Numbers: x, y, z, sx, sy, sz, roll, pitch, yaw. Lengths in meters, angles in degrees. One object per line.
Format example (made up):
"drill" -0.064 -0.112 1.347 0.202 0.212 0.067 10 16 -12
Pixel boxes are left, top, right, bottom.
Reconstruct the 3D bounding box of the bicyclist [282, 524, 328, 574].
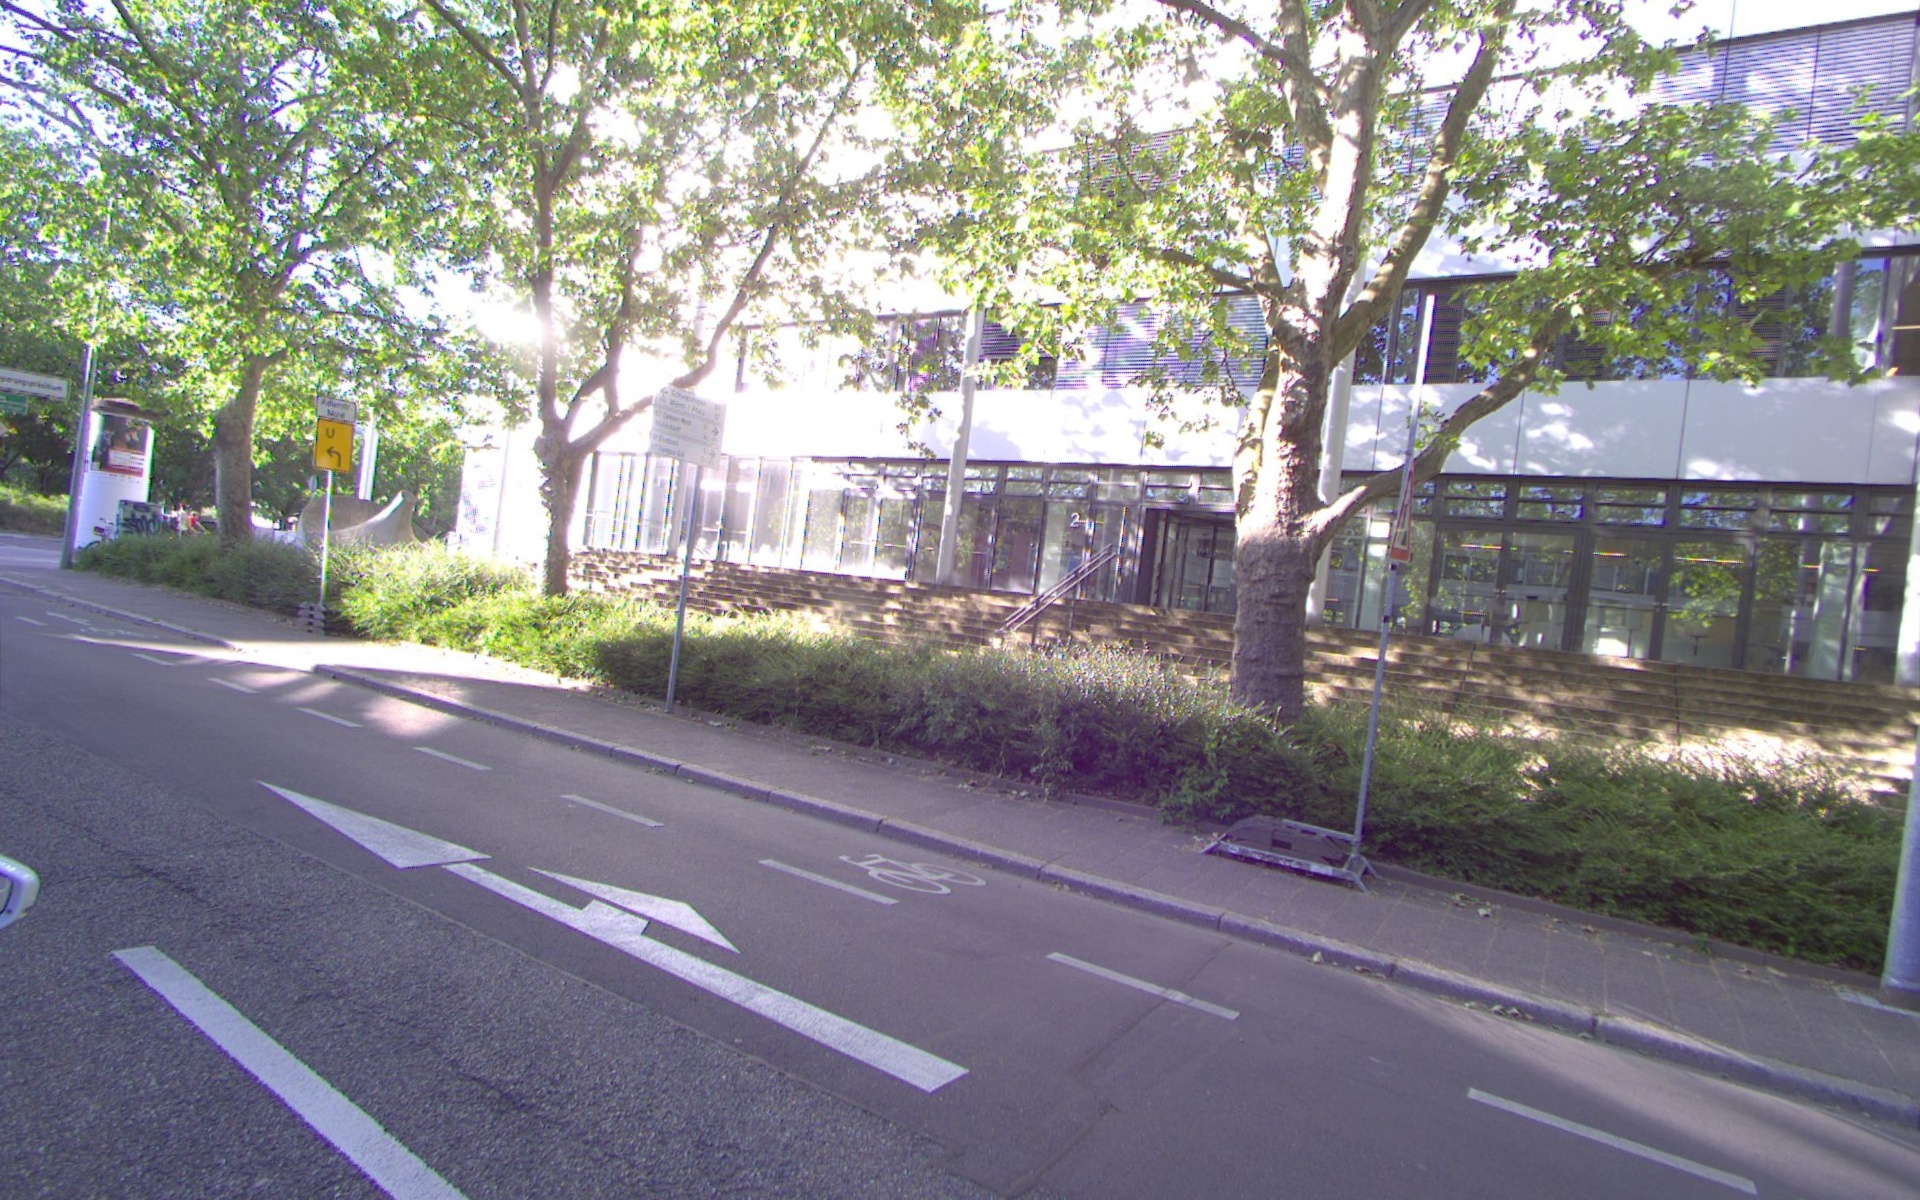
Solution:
"bicyclist" -24.277 -1.898 37.294 0.754 1.634 1.040 11 2 33

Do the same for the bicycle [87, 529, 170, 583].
"bicycle" -19.127 -0.998 23.162 0.357 1.036 1.354 7 -1 33

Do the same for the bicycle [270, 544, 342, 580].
"bicycle" -24.293 -1.396 37.409 0.754 0.992 2.009 11 1 33

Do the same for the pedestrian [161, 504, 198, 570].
"pedestrian" -23.461 -1.885 30.251 0.584 1.871 0.552 7 0 33
